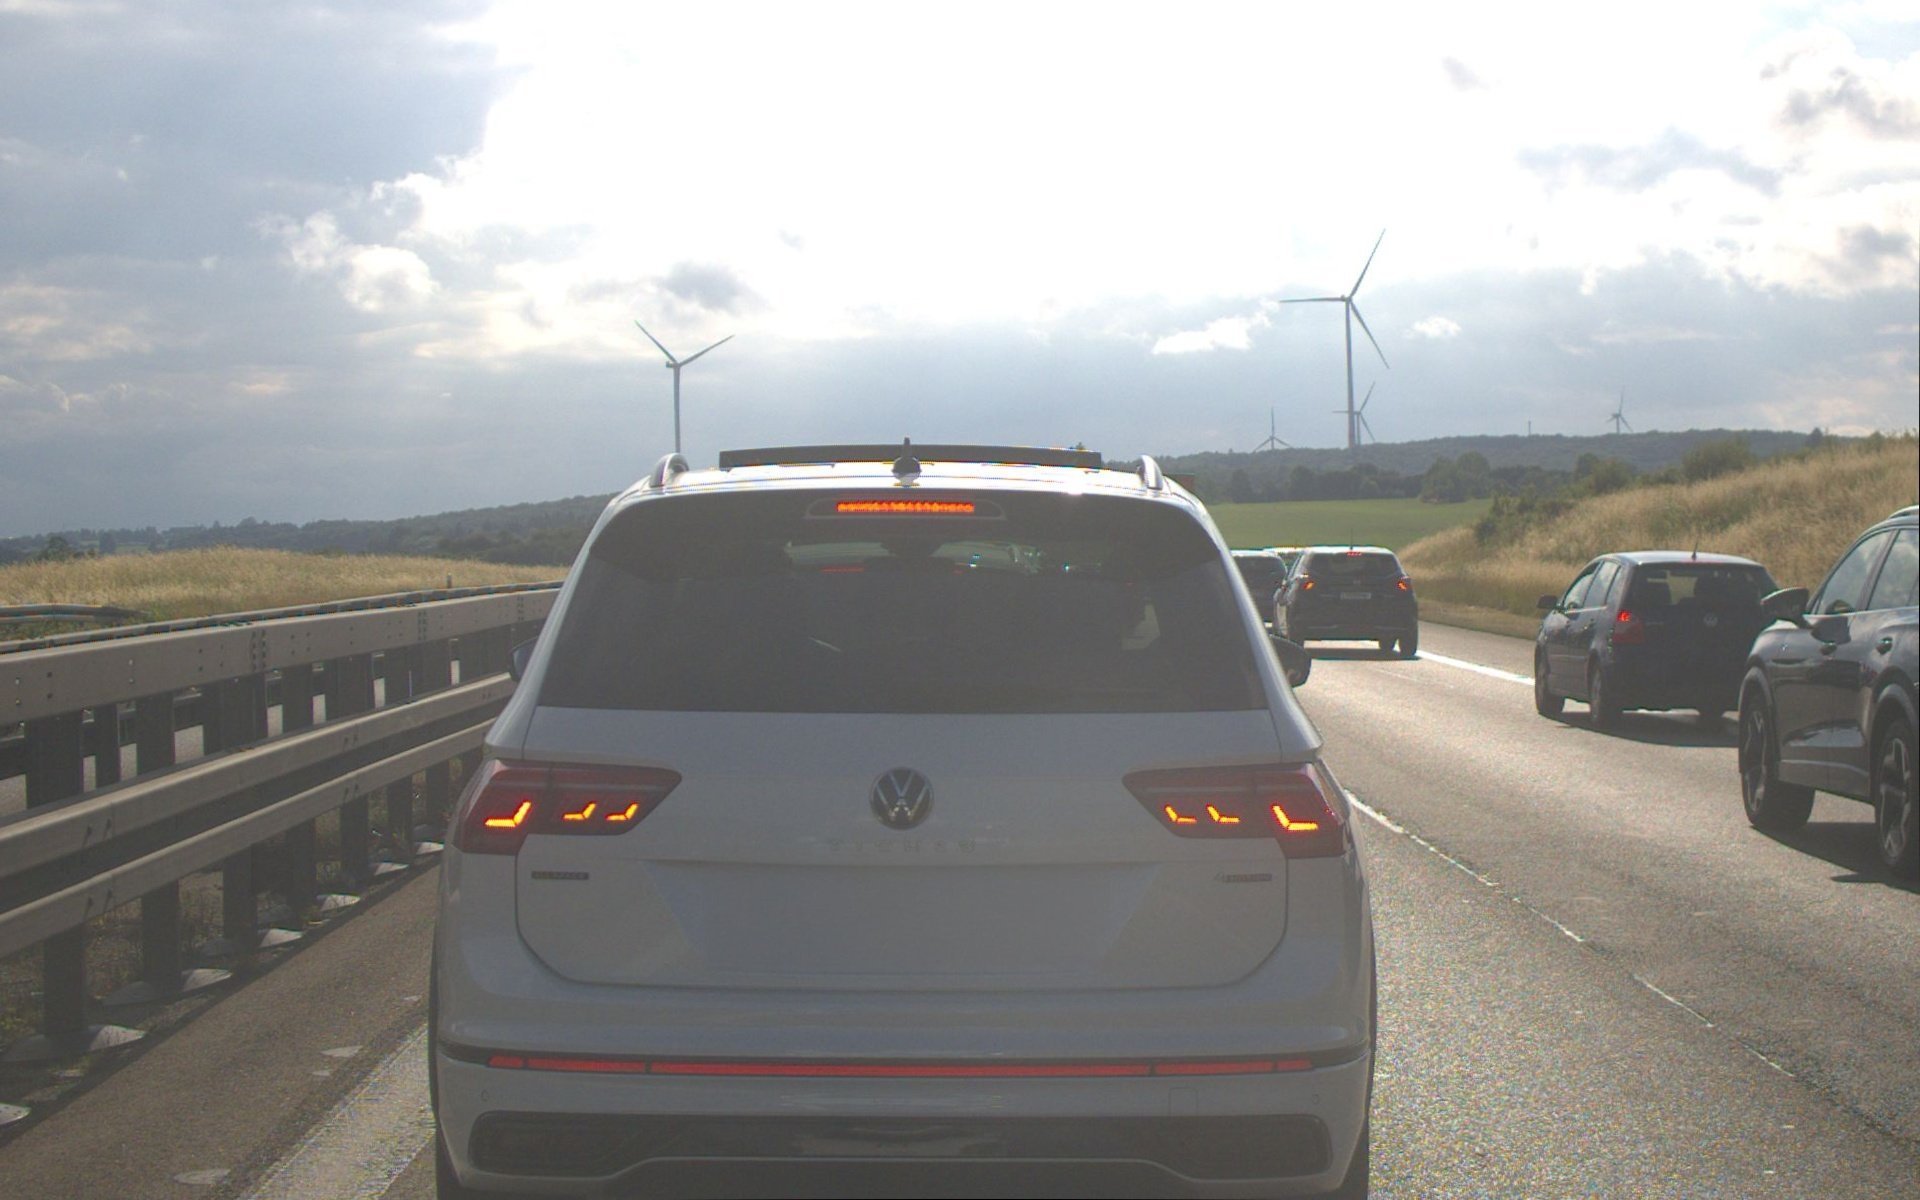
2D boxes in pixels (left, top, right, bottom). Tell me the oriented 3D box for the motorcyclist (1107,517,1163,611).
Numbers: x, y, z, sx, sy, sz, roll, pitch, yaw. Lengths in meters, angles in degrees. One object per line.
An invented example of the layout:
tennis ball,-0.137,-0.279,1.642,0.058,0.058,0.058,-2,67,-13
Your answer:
motorcyclist,2.902,-0.601,57.064,0.849,1.554,0.934,0,1,-1

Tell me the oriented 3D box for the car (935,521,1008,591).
car,0.251,-1.051,81.970,1.704,1.644,4.000,0,1,-1

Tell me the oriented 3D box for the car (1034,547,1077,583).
car,4.110,-1.524,148.732,1.704,1.540,4.000,0,1,-1

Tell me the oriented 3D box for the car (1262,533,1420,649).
car,5.210,-0.146,47.422,1.704,1.540,4.000,0,1,-1

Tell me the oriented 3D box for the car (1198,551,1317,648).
car,5.209,-0.032,60.559,1.704,1.644,4.000,0,1,-1

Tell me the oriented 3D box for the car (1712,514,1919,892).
car,4.957,0.436,16.157,1.821,1.596,4.235,1,1,-1

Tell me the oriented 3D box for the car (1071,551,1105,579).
car,7.147,-1.962,191.718,1.704,1.540,4.000,0,1,-1

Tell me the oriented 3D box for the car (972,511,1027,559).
car,1.258,-2.111,111.934,1.704,1.540,4.000,0,1,-1

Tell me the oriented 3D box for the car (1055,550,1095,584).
car,5.389,-1.547,160.932,1.704,1.540,4.000,0,1,-1

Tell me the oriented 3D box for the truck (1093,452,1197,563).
truck,6.219,-3.125,116.917,3.184,3.581,11.130,0,1,1

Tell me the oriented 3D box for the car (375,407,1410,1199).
car,-0.135,0.478,7.891,1.770,1.670,4.000,0,1,-1

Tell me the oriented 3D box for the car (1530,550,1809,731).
car,5.845,0.293,28.686,1.605,1.415,3.672,0,1,1

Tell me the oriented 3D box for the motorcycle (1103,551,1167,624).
motorcycle,2.899,-0.217,57.114,0.895,1.186,2.257,0,1,-1
